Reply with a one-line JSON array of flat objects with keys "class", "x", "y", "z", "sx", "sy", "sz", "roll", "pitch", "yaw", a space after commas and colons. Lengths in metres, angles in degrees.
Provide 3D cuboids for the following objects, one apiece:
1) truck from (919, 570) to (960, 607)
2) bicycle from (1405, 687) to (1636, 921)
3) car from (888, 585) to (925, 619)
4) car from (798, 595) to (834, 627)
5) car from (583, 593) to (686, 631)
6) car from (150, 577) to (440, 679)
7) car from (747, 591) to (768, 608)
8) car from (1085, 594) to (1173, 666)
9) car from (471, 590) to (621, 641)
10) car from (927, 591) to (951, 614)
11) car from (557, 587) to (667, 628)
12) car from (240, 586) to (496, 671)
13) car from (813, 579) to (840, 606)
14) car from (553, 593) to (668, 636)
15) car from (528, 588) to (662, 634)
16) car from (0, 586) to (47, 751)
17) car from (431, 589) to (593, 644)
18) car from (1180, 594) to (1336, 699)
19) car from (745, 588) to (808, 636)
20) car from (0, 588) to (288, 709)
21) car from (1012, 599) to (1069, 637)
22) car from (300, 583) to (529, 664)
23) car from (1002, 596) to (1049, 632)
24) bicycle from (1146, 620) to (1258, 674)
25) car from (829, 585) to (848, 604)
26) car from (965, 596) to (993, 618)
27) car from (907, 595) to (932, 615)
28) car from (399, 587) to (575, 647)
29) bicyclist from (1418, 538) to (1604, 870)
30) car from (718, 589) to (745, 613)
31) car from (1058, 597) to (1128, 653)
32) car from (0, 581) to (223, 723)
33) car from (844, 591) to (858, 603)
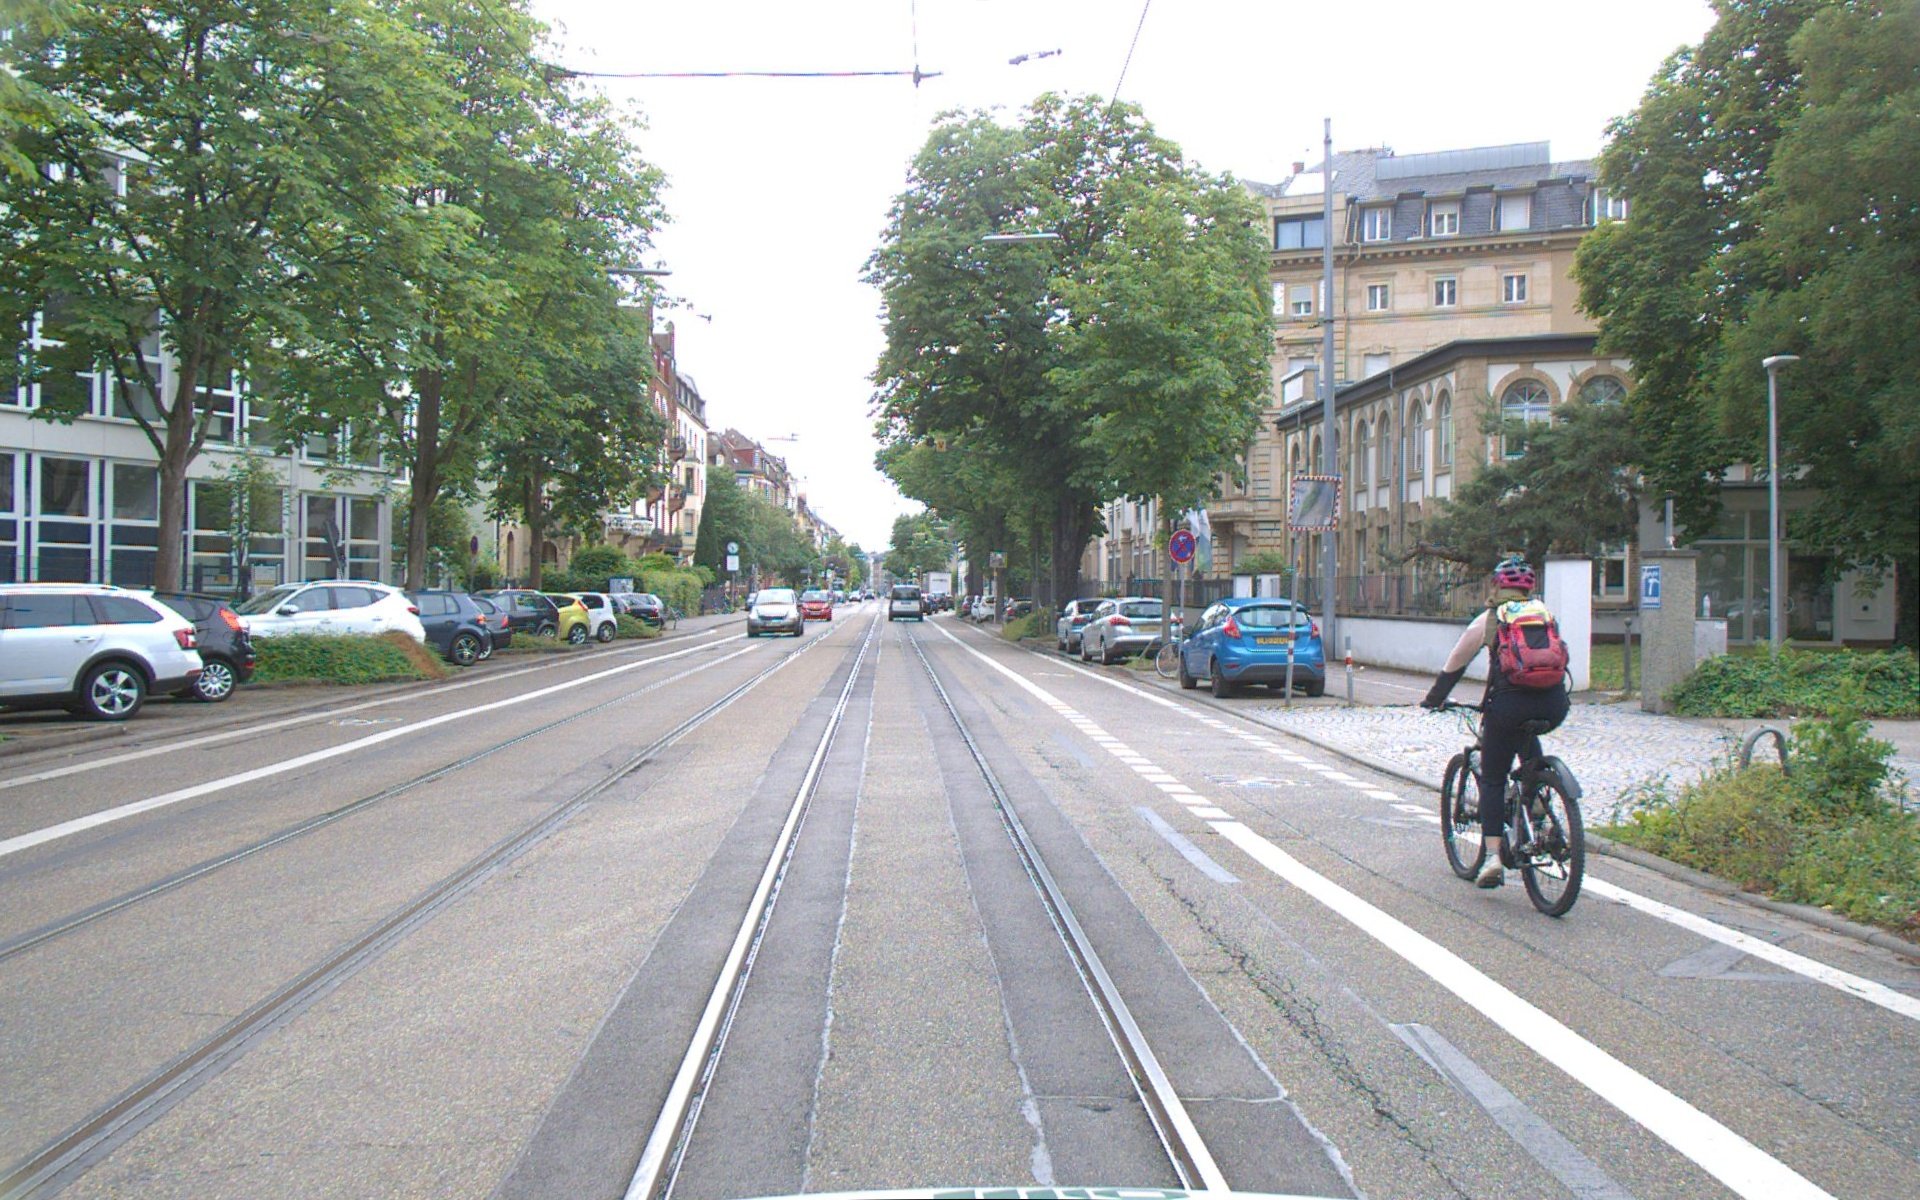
[{"class": "truck", "x": -2.392, "y": -1.324, "z": 187.160, "sx": 3.734, "sy": 4.100, "sz": 10.206, "roll": 0, "pitch": 0, "yaw": -6}, {"class": "bicycle", "x": 2.905, "y": 1.012, "z": 8.779, "sx": 0.479, "sy": 0.997, "sz": 2.057, "roll": 1, "pitch": -1, "yaw": -1}, {"class": "car", "x": -2.790, "y": 0.106, "z": 86.339, "sx": 1.774, "sy": 1.738, "sz": 3.698, "roll": 1, "pitch": 0, "yaw": 0}, {"class": "car", "x": -7.243, "y": 0.568, "z": 83.410, "sx": 1.643, "sy": 1.549, "sz": 2.780, "roll": 1, "pitch": 0, "yaw": -2}, {"class": "car", "x": -12.750, "y": 0.470, "z": 64.816, "sx": 3.663, "sy": 1.410, "sz": 1.685, "roll": 2, "pitch": 0, "yaw": -27}, {"class": "car", "x": -11.253, "y": 0.468, "z": 28.242, "sx": 1.667, "sy": 1.583, "sz": 4.326, "roll": 2, "pitch": 0, "yaw": 38}, {"class": "car", "x": -16.513, "y": -0.021, "z": 134.957, "sx": 1.609, "sy": 1.378, "sz": 3.872, "roll": 0, "pitch": 0, "yaw": -6}, {"class": "car", "x": 3.802, "y": 0.648, "z": 37.681, "sx": 1.446, "sy": 1.507, "sz": 3.563, "roll": 1, "pitch": 0, "yaw": -3}, {"class": "car", "x": -11.882, "y": 0.461, "z": 47.667, "sx": 1.670, "sy": 1.375, "sz": 3.944, "roll": 2, "pitch": 0, "yaw": 42}, {"class": "car", "x": -1.720, "y": 0.181, "z": 133.384, "sx": 1.953, "sy": 1.825, "sz": 3.999, "roll": 0, "pitch": 0, "yaw": -1}, {"class": "car", "x": -12.888, "y": 0.273, "z": 61.243, "sx": 3.663, "sy": 1.410, "sz": 1.685, "roll": 2, "pitch": 0, "yaw": -27}, {"class": "car", "x": -11.193, "y": 0.539, "z": 31.493, "sx": 1.670, "sy": 1.479, "sz": 4.320, "roll": 2, "pitch": 0, "yaw": 42}, {"class": "car", "x": -12.498, "y": -0.705, "z": 155.341, "sx": 2.159, "sy": 2.459, "sz": 4.001, "roll": 0, "pitch": 0, "yaw": 1}, {"class": "car", "x": -12.328, "y": 0.522, "z": 58.368, "sx": 3.663, "sy": 1.410, "sz": 1.685, "roll": 2, "pitch": 0, "yaw": -27}, {"class": "car", "x": -11.633, "y": 0.374, "z": 52.854, "sx": 1.670, "sy": 1.375, "sz": 3.944, "roll": 2, "pitch": 0, "yaw": 42}, {"class": "car", "x": -10.694, "y": 0.614, "z": 15.207, "sx": 1.670, "sy": 1.550, "sz": 3.682, "roll": 2, "pitch": 0, "yaw": 43}, {"class": "car", "x": -12.017, "y": 0.442, "z": 44.518, "sx": 1.670, "sy": 1.375, "sz": 3.944, "roll": 2, "pitch": 0, "yaw": 42}, {"class": "car", "x": 4.566, "y": 0.678, "z": 25.768, "sx": 1.640, "sy": 1.486, "sz": 3.430, "roll": 1, "pitch": 0, "yaw": -3}, {"class": "car", "x": -6.177, "y": 0.384, "z": 56.083, "sx": 1.862, "sy": 1.557, "sz": 3.752, "roll": -1, "pitch": 0, "yaw": -3}, {"class": "car", "x": -11.022, "y": 0.602, "z": 21.390, "sx": 3.992, "sy": 1.430, "sz": 1.675, "roll": 1, "pitch": 0, "yaw": -41}, {"class": "car", "x": 2.857, "y": 0.624, "z": 59.123, "sx": 1.835, "sy": 1.273, "sz": 4.000, "roll": 0, "pitch": 0, "yaw": 0}, {"class": "car", "x": -11.432, "y": 0.490, "z": 34.865, "sx": 1.670, "sy": 1.562, "sz": 4.320, "roll": 2, "pitch": 0, "yaw": 42}, {"class": "car", "x": 2.633, "y": 0.561, "z": 67.286, "sx": 1.754, "sy": 1.423, "sz": 3.795, "roll": 0, "pitch": 0, "yaw": 0}, {"class": "bicycle", "x": 4.460, "y": 0.864, "z": 30.494, "sx": 1.973, "sy": 0.973, "sz": 0.533, "roll": 0, "pitch": 0, "yaw": -6}, {"class": "car", "x": -14.664, "y": -0.711, "z": 199.490, "sx": 2.161, "sy": 2.295, "sz": 3.998, "roll": 0, "pitch": 0, "yaw": -3}, {"class": "car", "x": 1.189, "y": 0.440, "z": 106.630, "sx": 1.734, "sy": 1.423, "sz": 3.795, "roll": 0, "pitch": 0, "yaw": 0}, {"class": "car", "x": -2.863, "y": 0.335, "z": 117.958, "sx": 1.734, "sy": 1.423, "sz": 3.795, "roll": 0, "pitch": 0, "yaw": 0}, {"class": "car", "x": -11.778, "y": 0.429, "z": 41.327, "sx": 1.670, "sy": 1.375, "sz": 3.944, "roll": 2, "pitch": 0, "yaw": 42}, {"class": "bicyclist", "x": 2.848, "y": 0.512, "z": 8.622, "sx": 0.644, "sy": 1.638, "sz": 0.919, "roll": 0, "pitch": 0, "yaw": -1}, {"class": "car", "x": -22.146, "y": 0.090, "z": 160.223, "sx": 2.133, "sy": 2.246, "sz": 4.217, "roll": 0, "pitch": 0, "yaw": -2}, {"class": "car", "x": 3.564, "y": 0.642, "z": 44.826, "sx": 1.446, "sy": 1.454, "sz": 3.563, "roll": 0, "pitch": 0, "yaw": -3}, {"class": "car", "x": -10.644, "y": 0.557, "z": 18.590, "sx": 3.992, "sy": 1.510, "sz": 1.675, "roll": 1, "pitch": 0, "yaw": -41}, {"class": "car", "x": -15.835, "y": -0.474, "z": 240.989, "sx": 1.736, "sy": 1.672, "sz": 3.567, "roll": 0, "pitch": 0, "yaw": 1}]
